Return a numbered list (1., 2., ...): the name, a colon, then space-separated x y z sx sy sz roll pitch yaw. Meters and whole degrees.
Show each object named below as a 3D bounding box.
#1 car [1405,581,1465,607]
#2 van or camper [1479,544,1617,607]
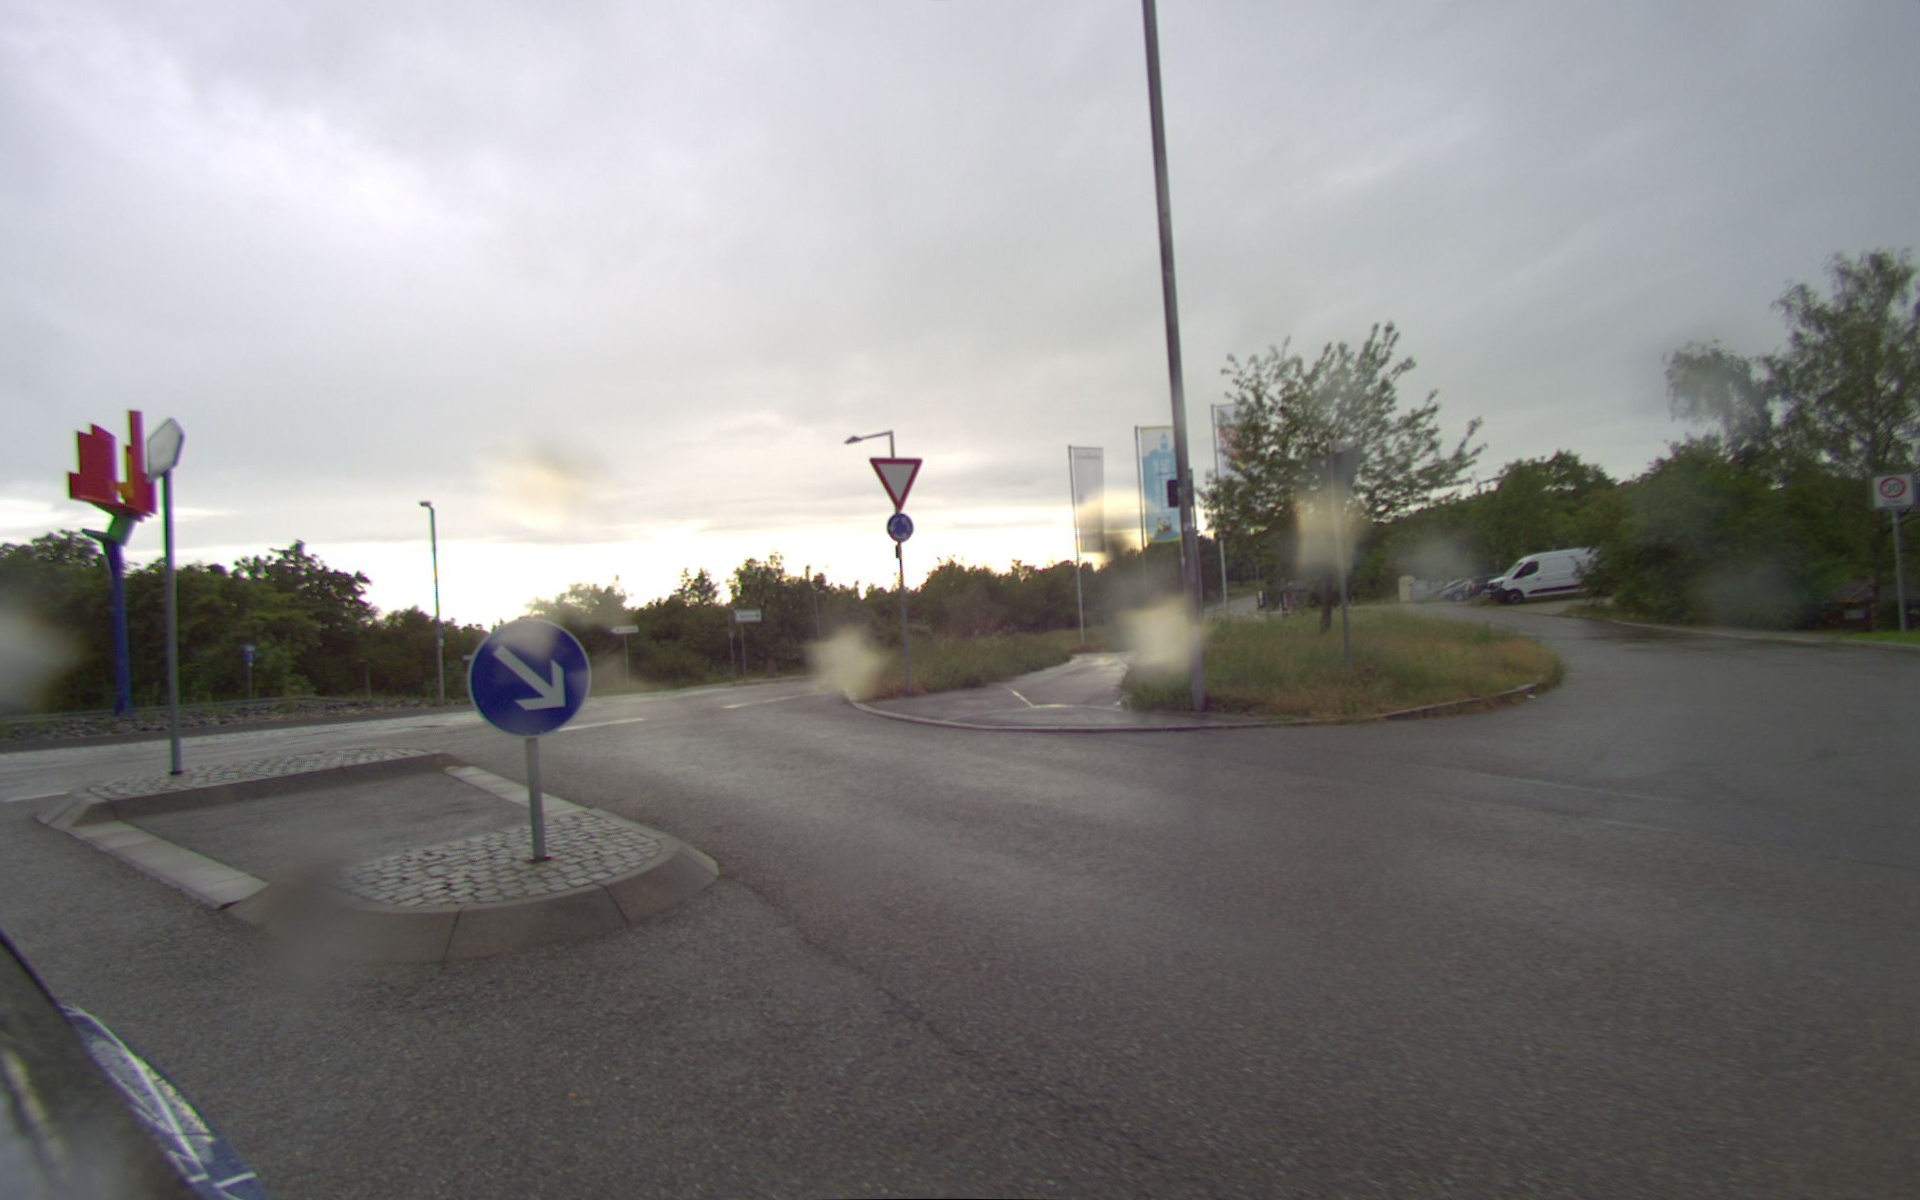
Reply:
1. car: 38.187 -0.492 81.494 3.963 1.896 1.990 -3 -1 15
2. van or camper: 29.896 -1.212 51.689 5.562 2.556 1.988 -6 -2 18
